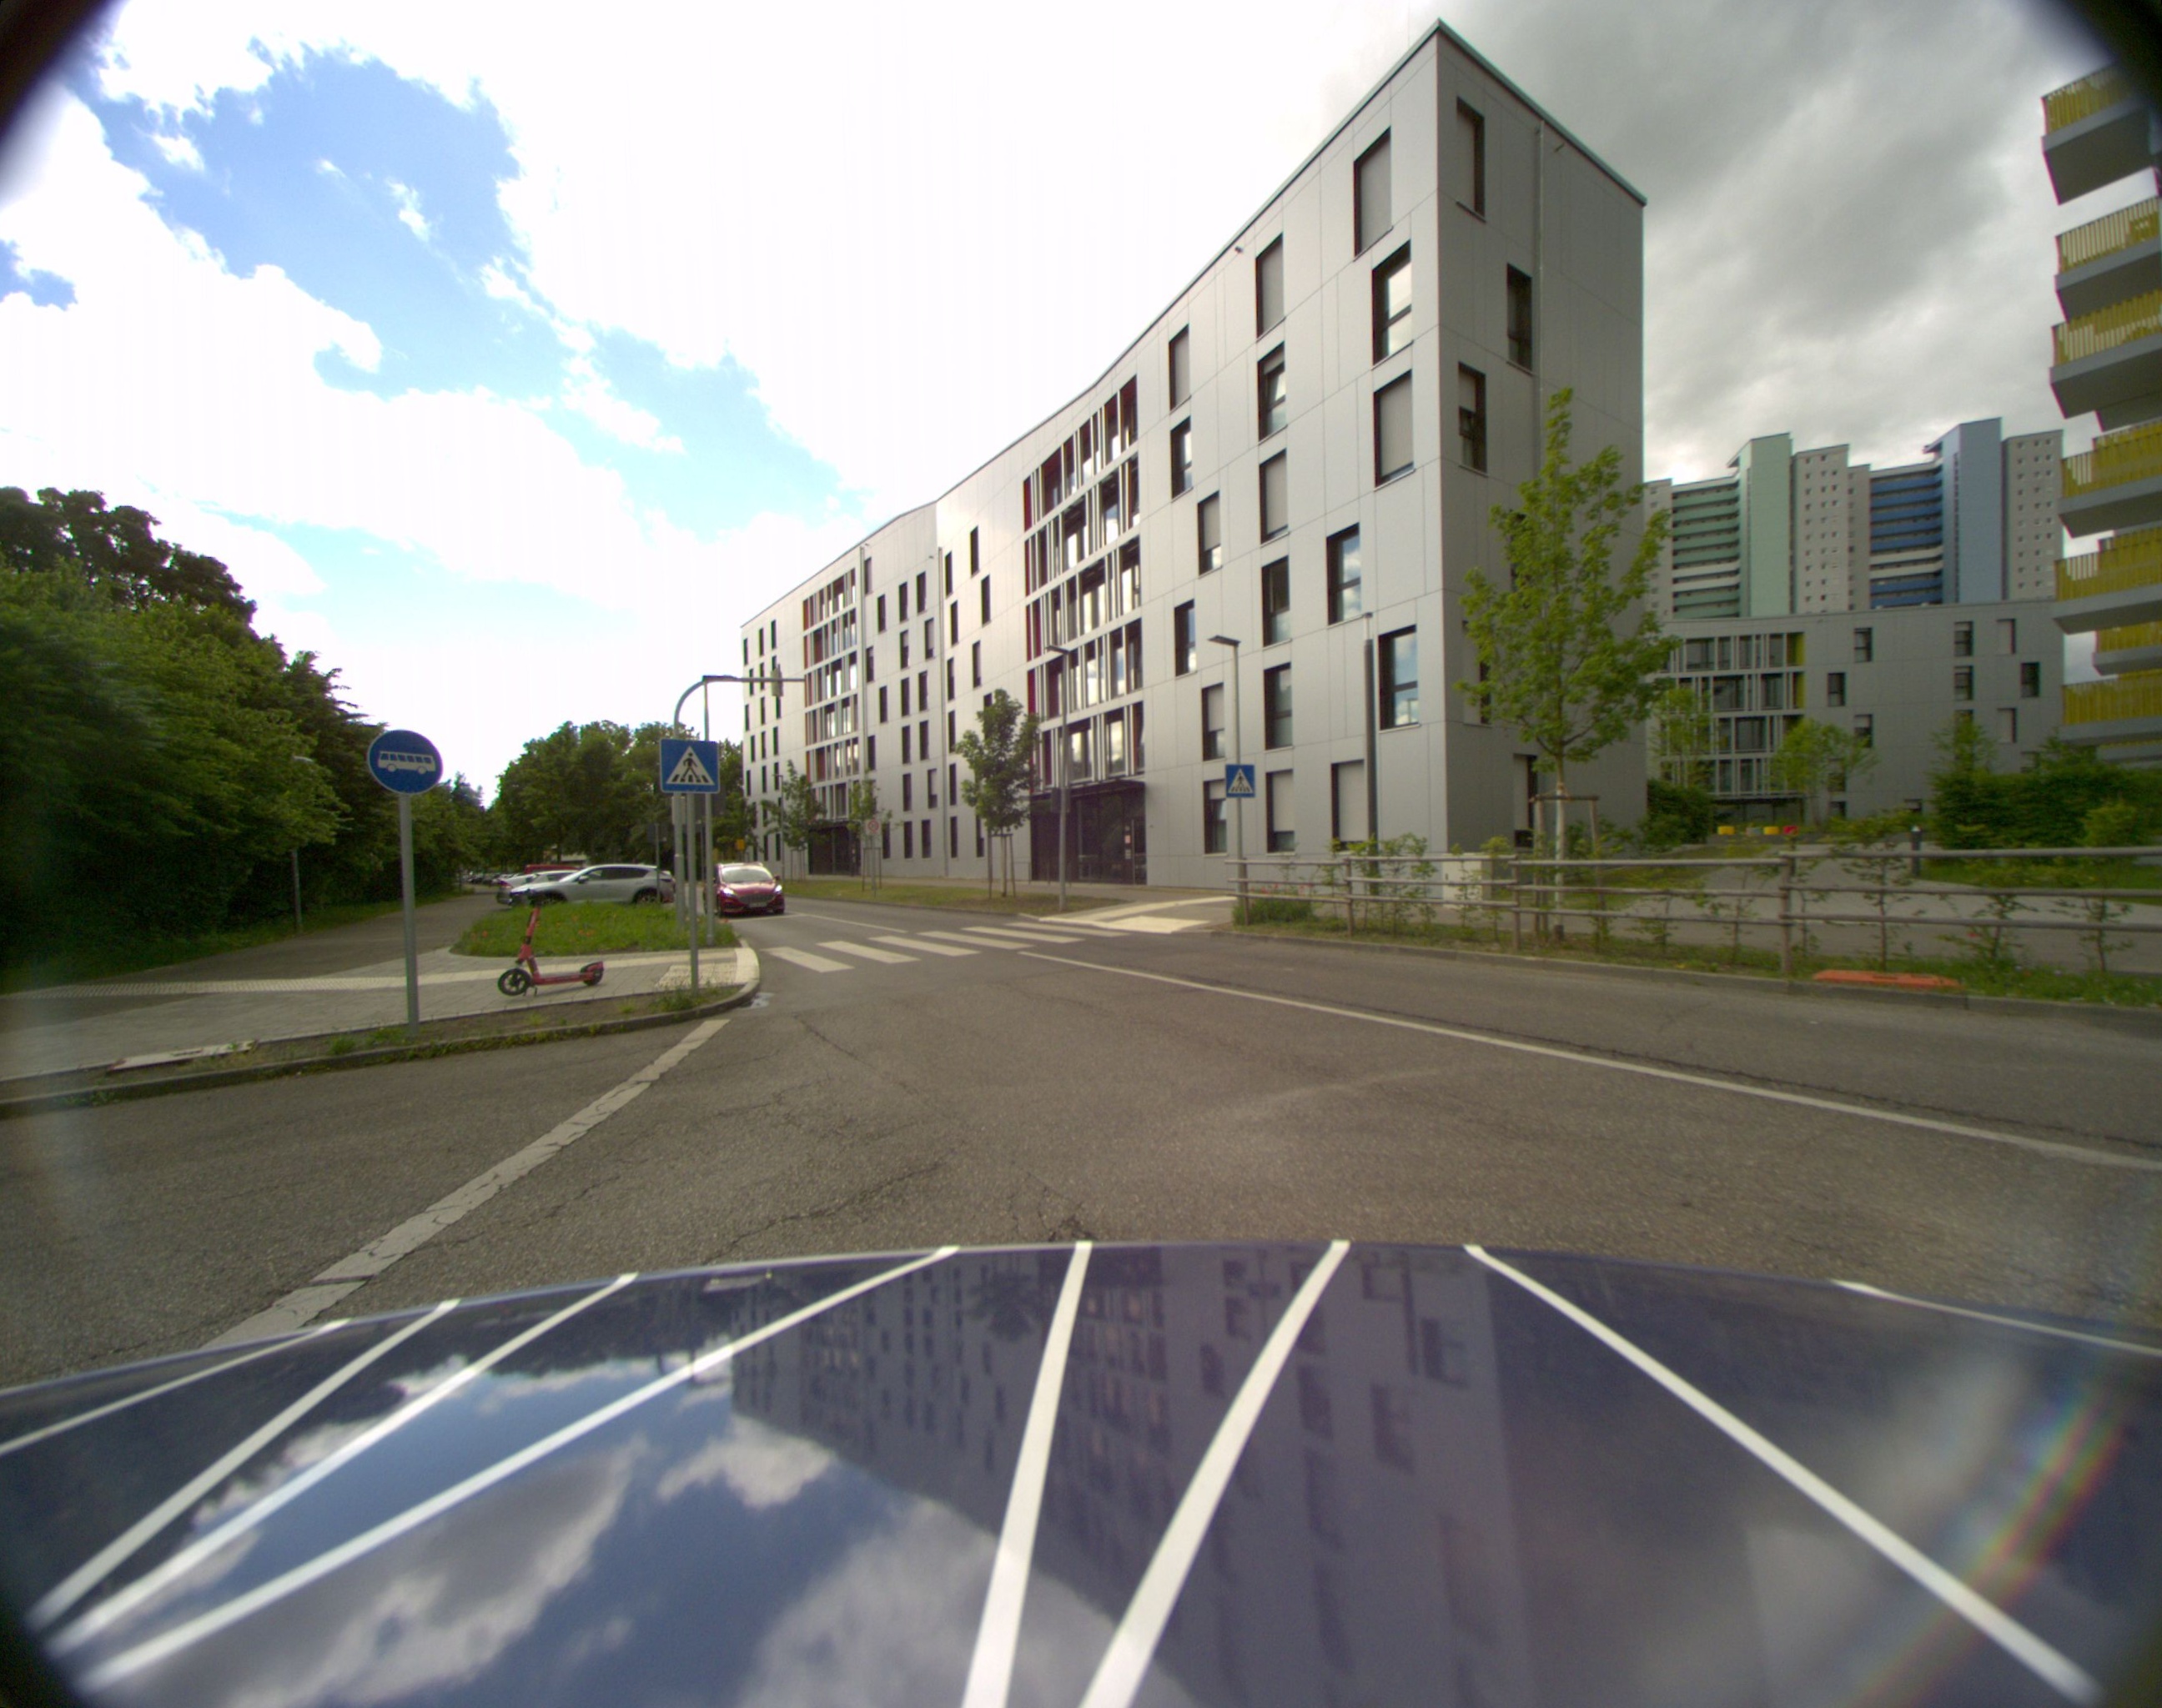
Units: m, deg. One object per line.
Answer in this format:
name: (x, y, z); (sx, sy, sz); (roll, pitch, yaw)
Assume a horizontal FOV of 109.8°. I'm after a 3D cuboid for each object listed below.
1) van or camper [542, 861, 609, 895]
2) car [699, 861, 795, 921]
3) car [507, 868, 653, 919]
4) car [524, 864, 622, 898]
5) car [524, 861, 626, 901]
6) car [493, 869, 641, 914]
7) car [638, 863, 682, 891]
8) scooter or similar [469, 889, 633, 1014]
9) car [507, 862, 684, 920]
van or camper: (-38.763, 1.790, 58.292); (3.988, 2.306, 1.879); (-4, 2, -36)
car: (-10.701, 1.090, 24.149); (1.937, 1.622, 4.231); (-4, 2, -35)
car: (-17.644, 1.341, 26.876); (4.176, 1.577, 1.791); (-1, 0, -37)
car: (-29.165, 1.507, 43.689); (4.574, 1.887, 1.879); (1, -1, -37)
car: (-26.104, 1.348, 39.259); (4.302, 1.881, 1.833); (-1, 0, -37)
car: (-19.276, 1.352, 28.628); (4.500, 1.553, 1.906); (0, -1, -37)
car: (-26.279, 1.415, 47.421); (1.822, 1.608, 3.989); (-1, 0, -37)
scooter or similar: (-6.433, 1.132, 9.316); (0.571, 1.305, 1.528); (-2, 1, 24)
car: (-15.789, 1.152, 24.840); (4.673, 1.741, 2.064); (1, -1, -39)
